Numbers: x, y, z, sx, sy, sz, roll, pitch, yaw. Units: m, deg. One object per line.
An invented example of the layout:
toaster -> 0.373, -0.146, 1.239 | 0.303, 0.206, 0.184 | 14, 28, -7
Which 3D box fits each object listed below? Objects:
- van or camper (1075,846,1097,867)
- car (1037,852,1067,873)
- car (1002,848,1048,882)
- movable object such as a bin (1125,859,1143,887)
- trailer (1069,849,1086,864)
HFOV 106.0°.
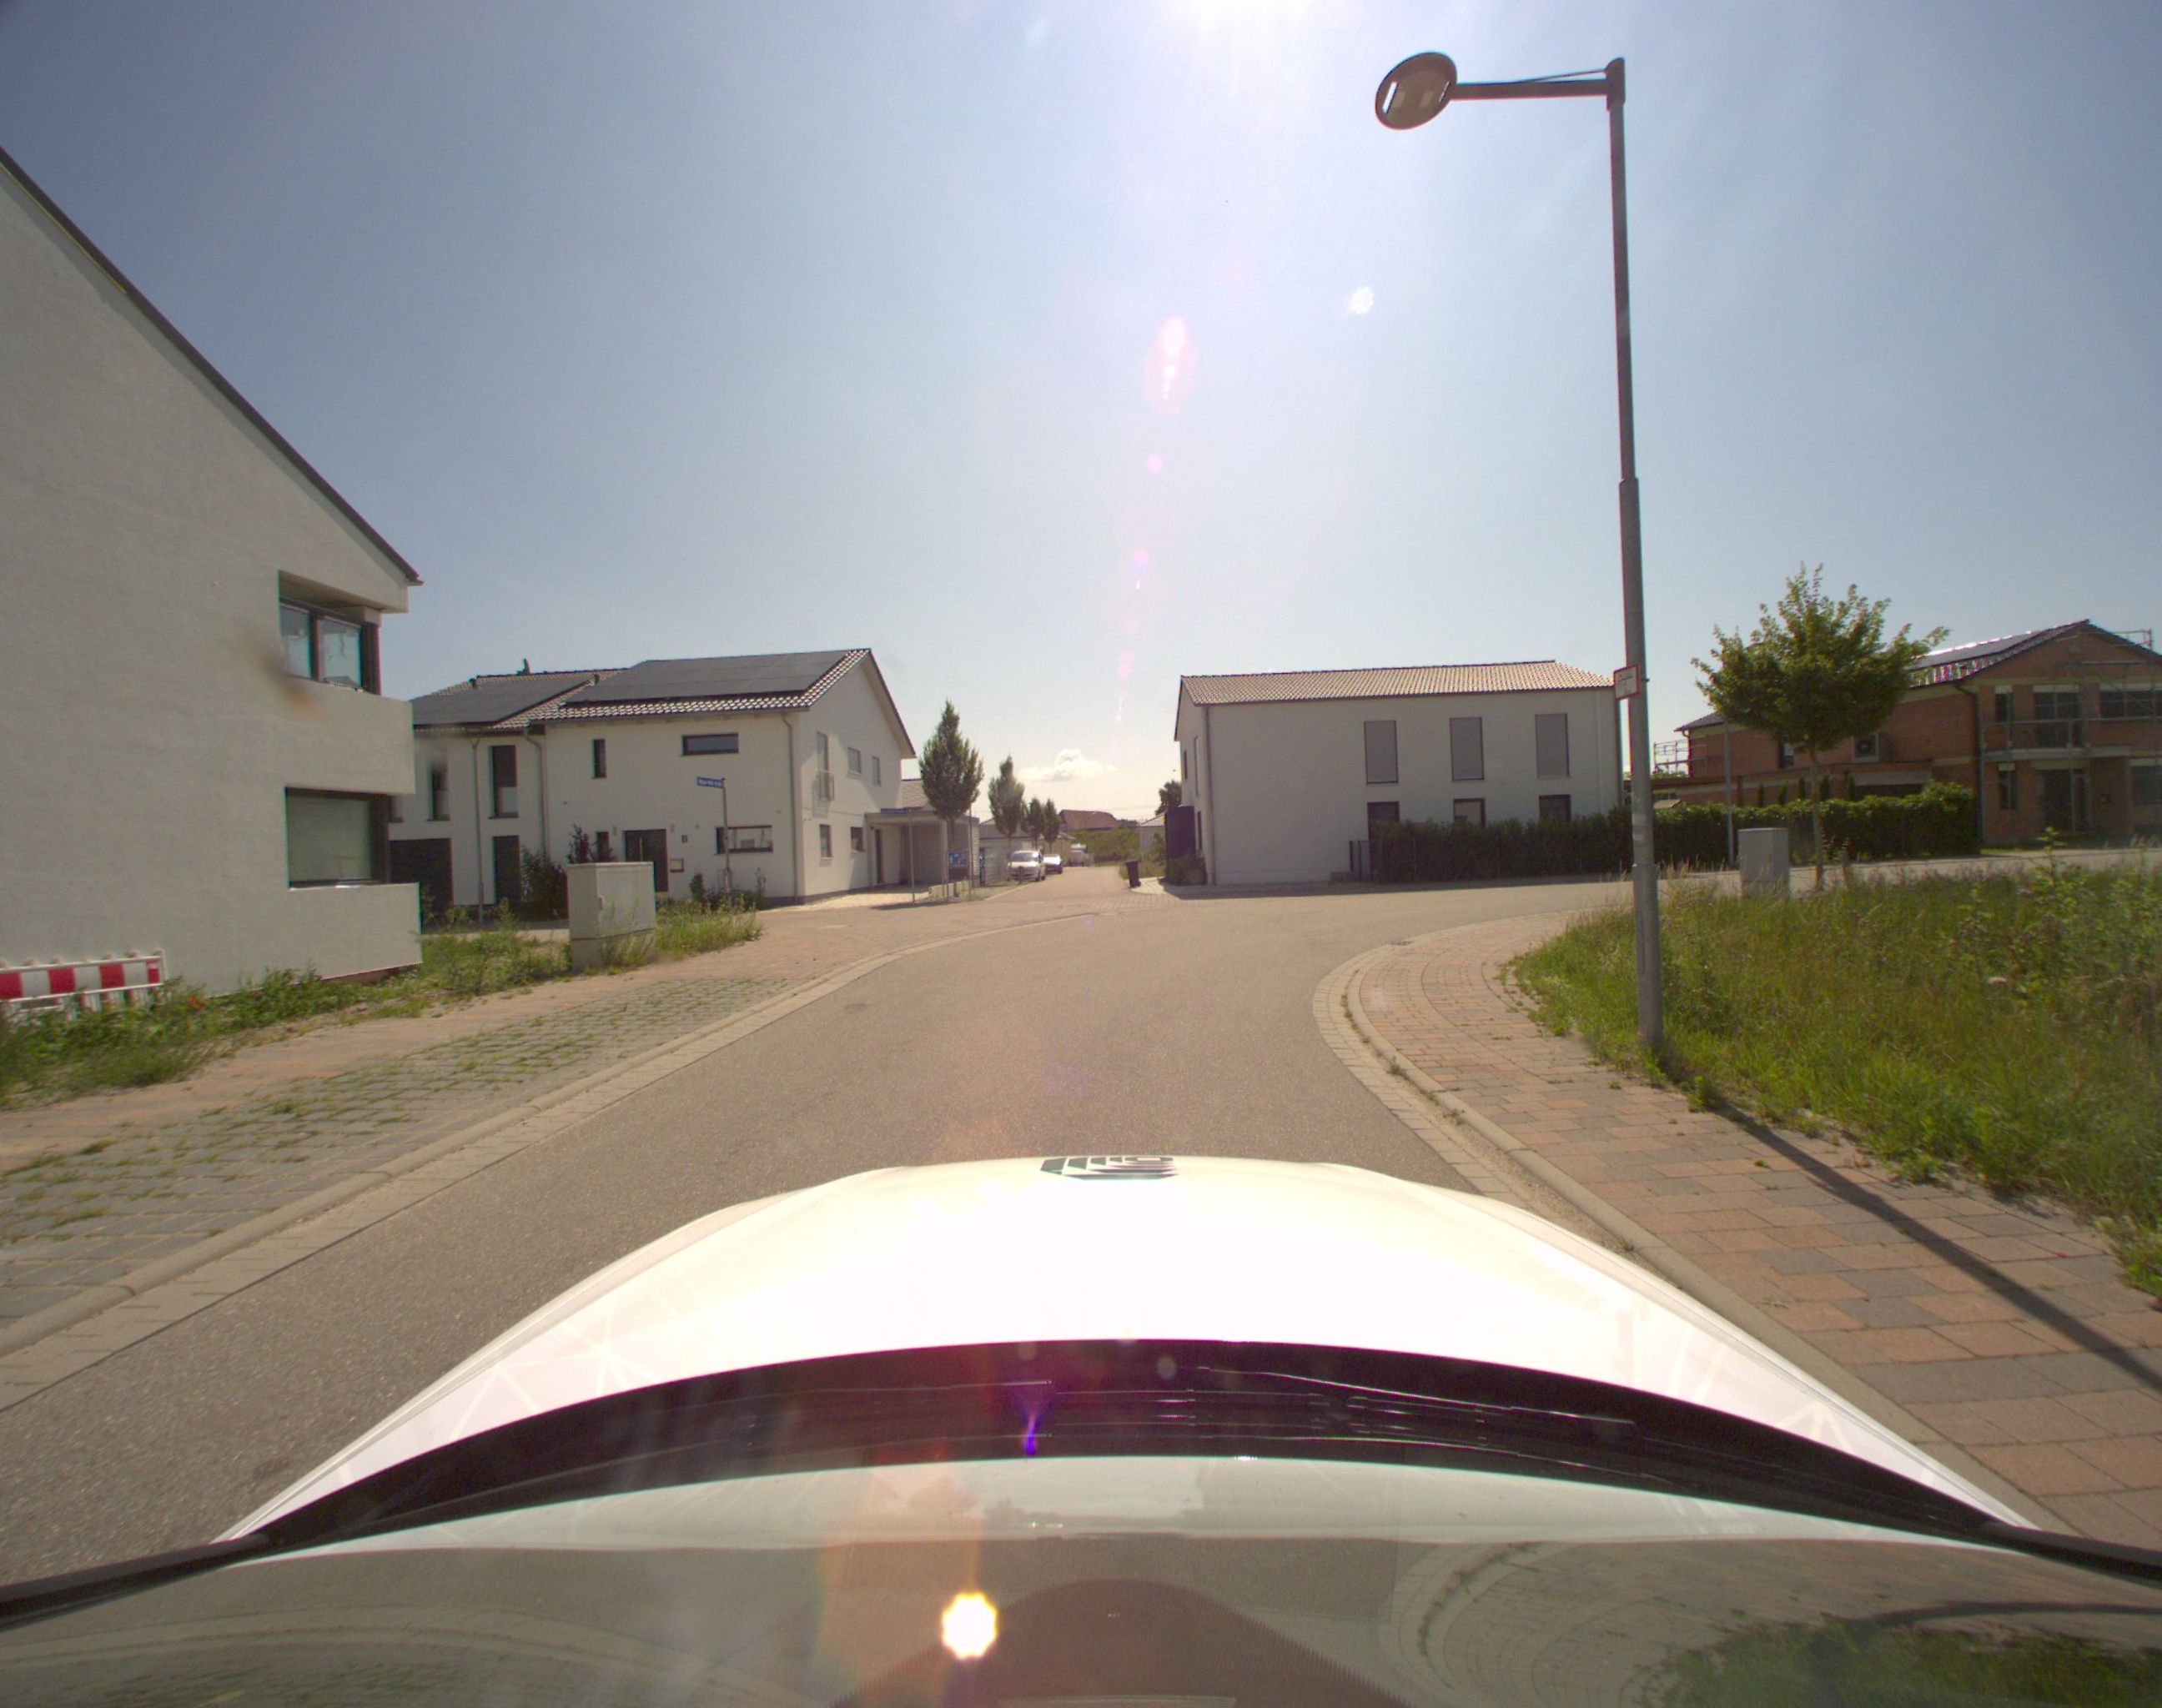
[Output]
van or camper -> 0.646, 0.286, 94.371 | 2.254, 2.411, 4.848 | -1, -1, 3
car -> -2.316, 0.709, 65.710 | 1.985, 1.614, 4.488 | -1, 0, 3
car -> -3.101, 0.602, 46.285 | 1.985, 1.790, 4.651 | -1, 0, 3
movable object such as a bin -> 1.898, 0.692, 29.272 | 0.597, 0.948, 0.501 | -4, 0, 2
trailer -> -0.396, 0.273, 87.028 | 1.620, 1.614, 2.563 | -1, -1, 3
